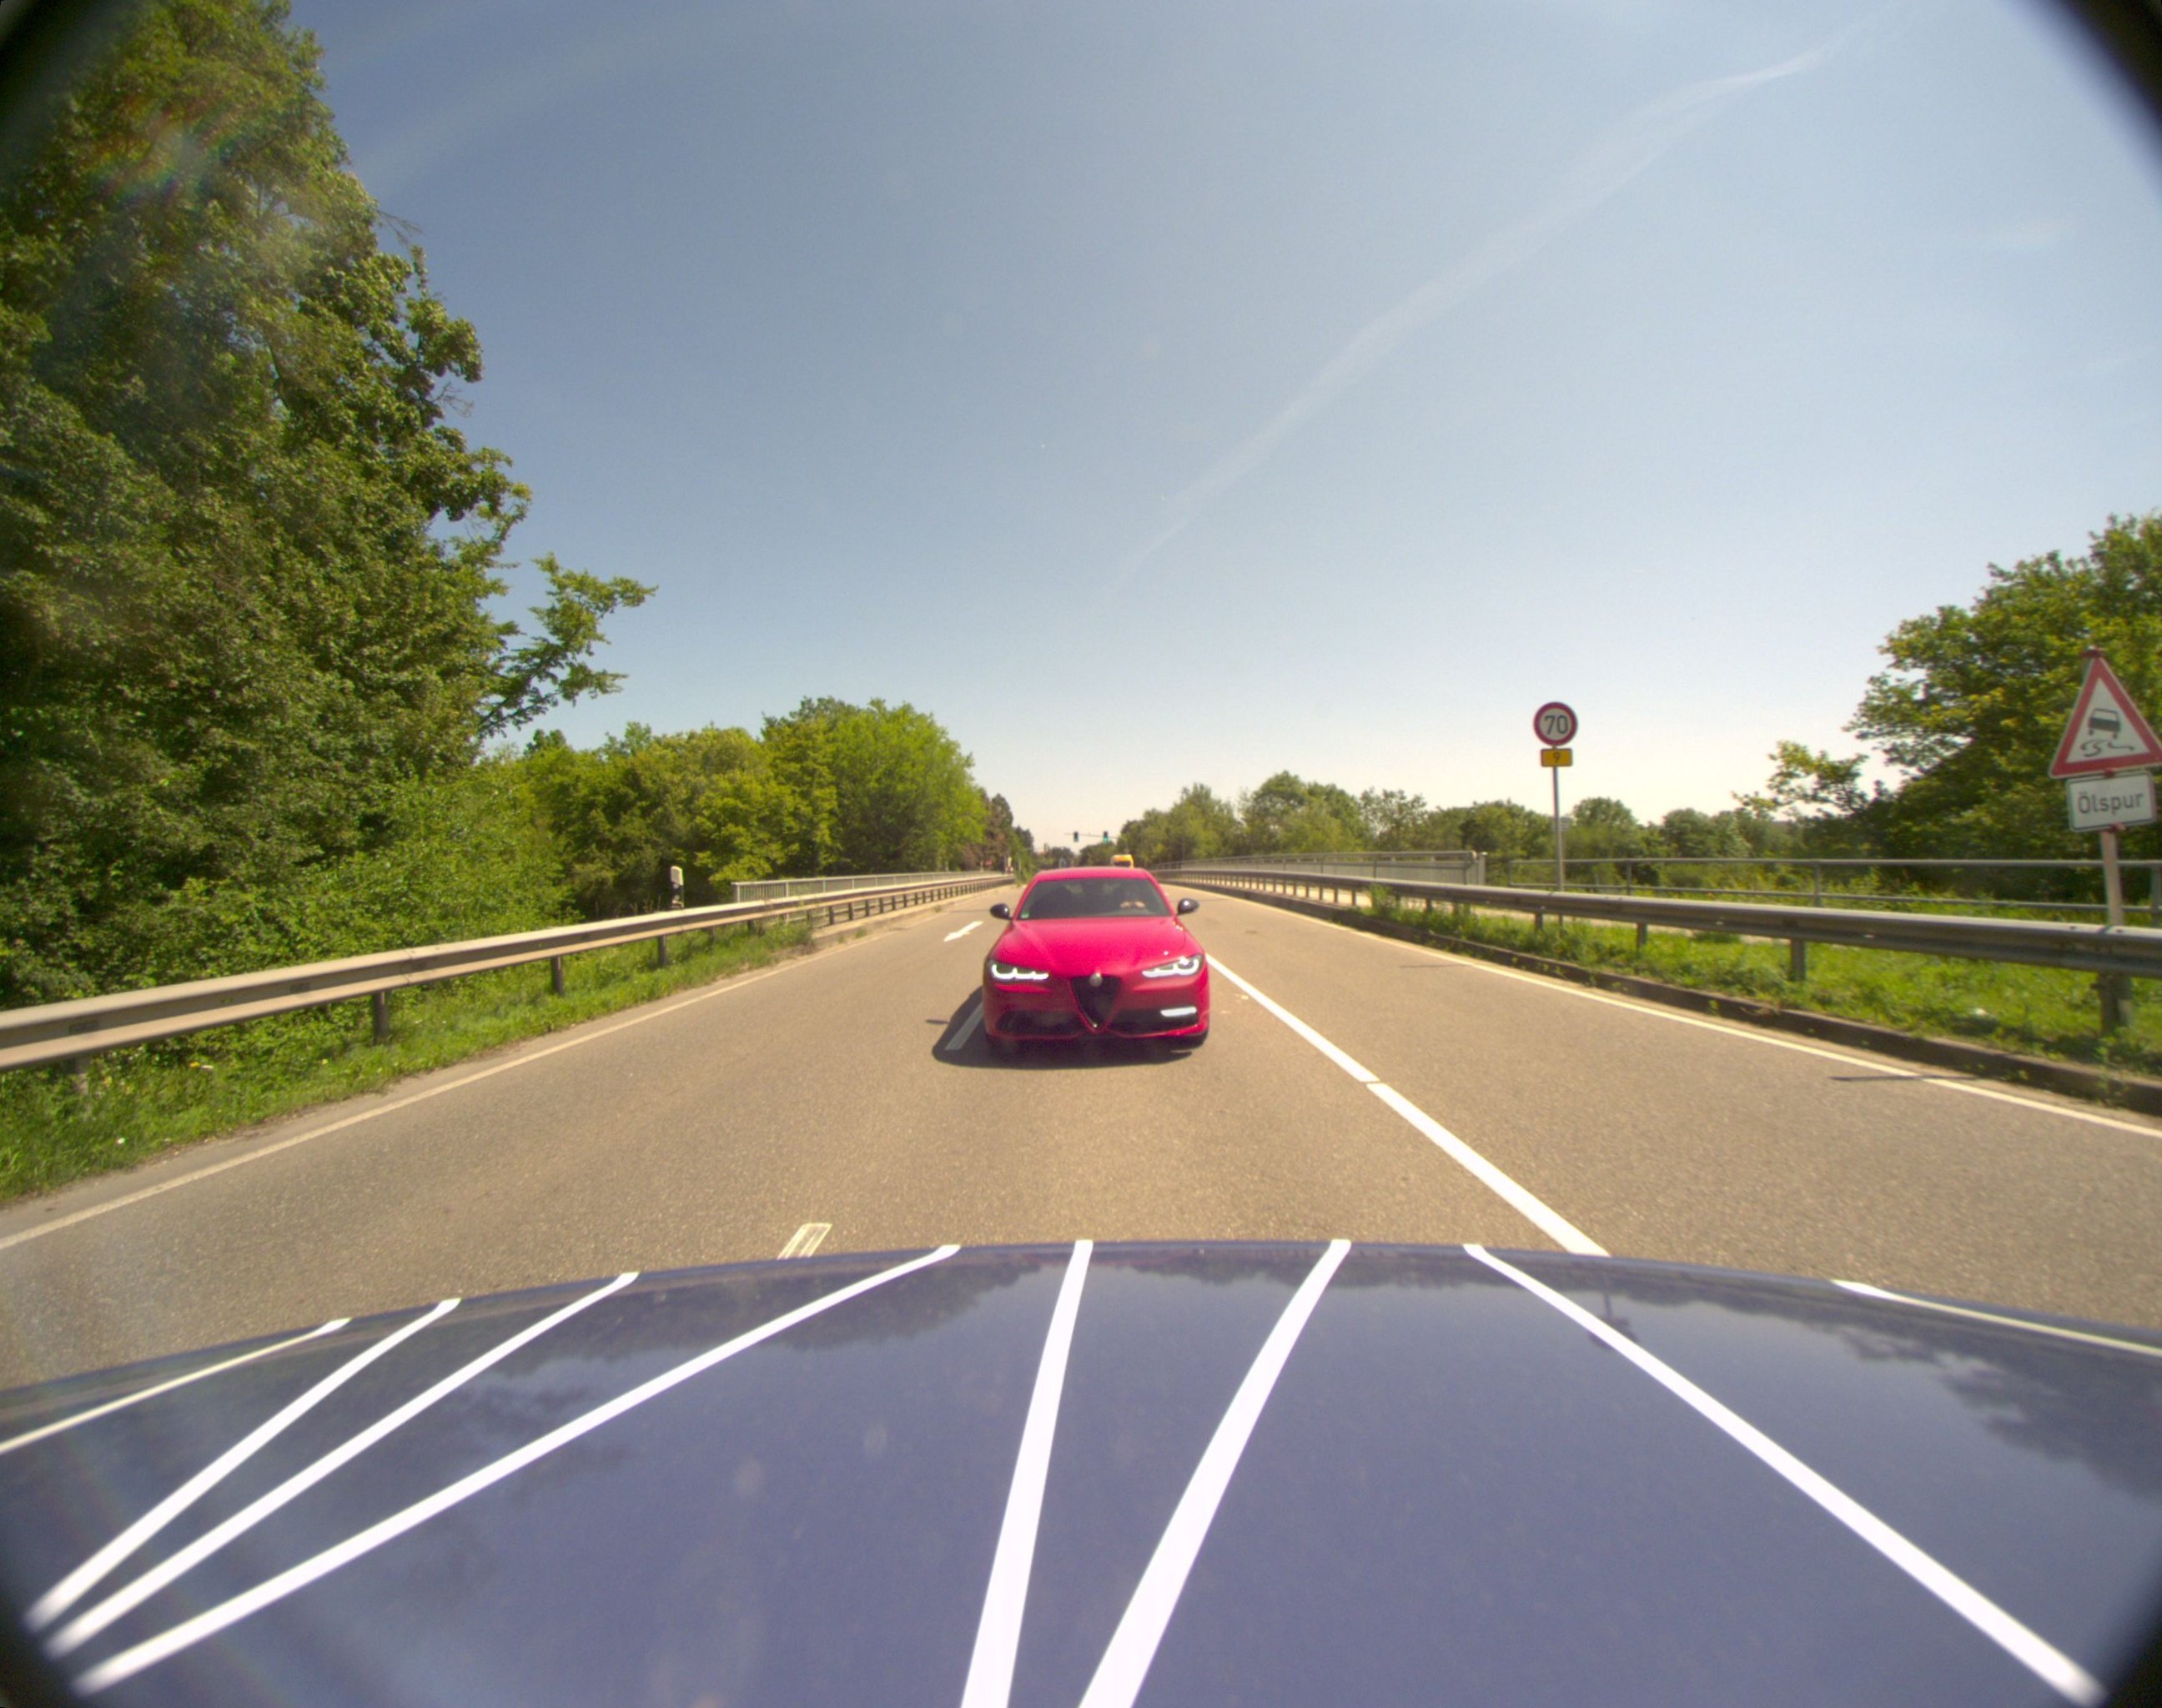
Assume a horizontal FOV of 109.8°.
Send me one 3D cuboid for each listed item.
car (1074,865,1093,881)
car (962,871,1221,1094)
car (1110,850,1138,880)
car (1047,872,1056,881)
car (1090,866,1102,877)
[{"bbox_3d":[0.286,1.845,74.205,1.800,1.448,3.707,-1,0,1],"label":"car"},{"bbox_3d":[0.091,0.956,7.505,1.800,1.448,4.285,-1,0,0],"label":"car"},{"bbox_3d":[3.573,0.923,64.194,1.995,2.354,5.181,-2,0,0],"label":"car"},{"bbox_3d":[-5.295,4.051,135.669,1.416,1.499,3.316,-1,0,0],"label":"car"},{"bbox_3d":[2.344,2.737,119.545,1.848,1.758,4.000,-1,0,0],"label":"car"}]
